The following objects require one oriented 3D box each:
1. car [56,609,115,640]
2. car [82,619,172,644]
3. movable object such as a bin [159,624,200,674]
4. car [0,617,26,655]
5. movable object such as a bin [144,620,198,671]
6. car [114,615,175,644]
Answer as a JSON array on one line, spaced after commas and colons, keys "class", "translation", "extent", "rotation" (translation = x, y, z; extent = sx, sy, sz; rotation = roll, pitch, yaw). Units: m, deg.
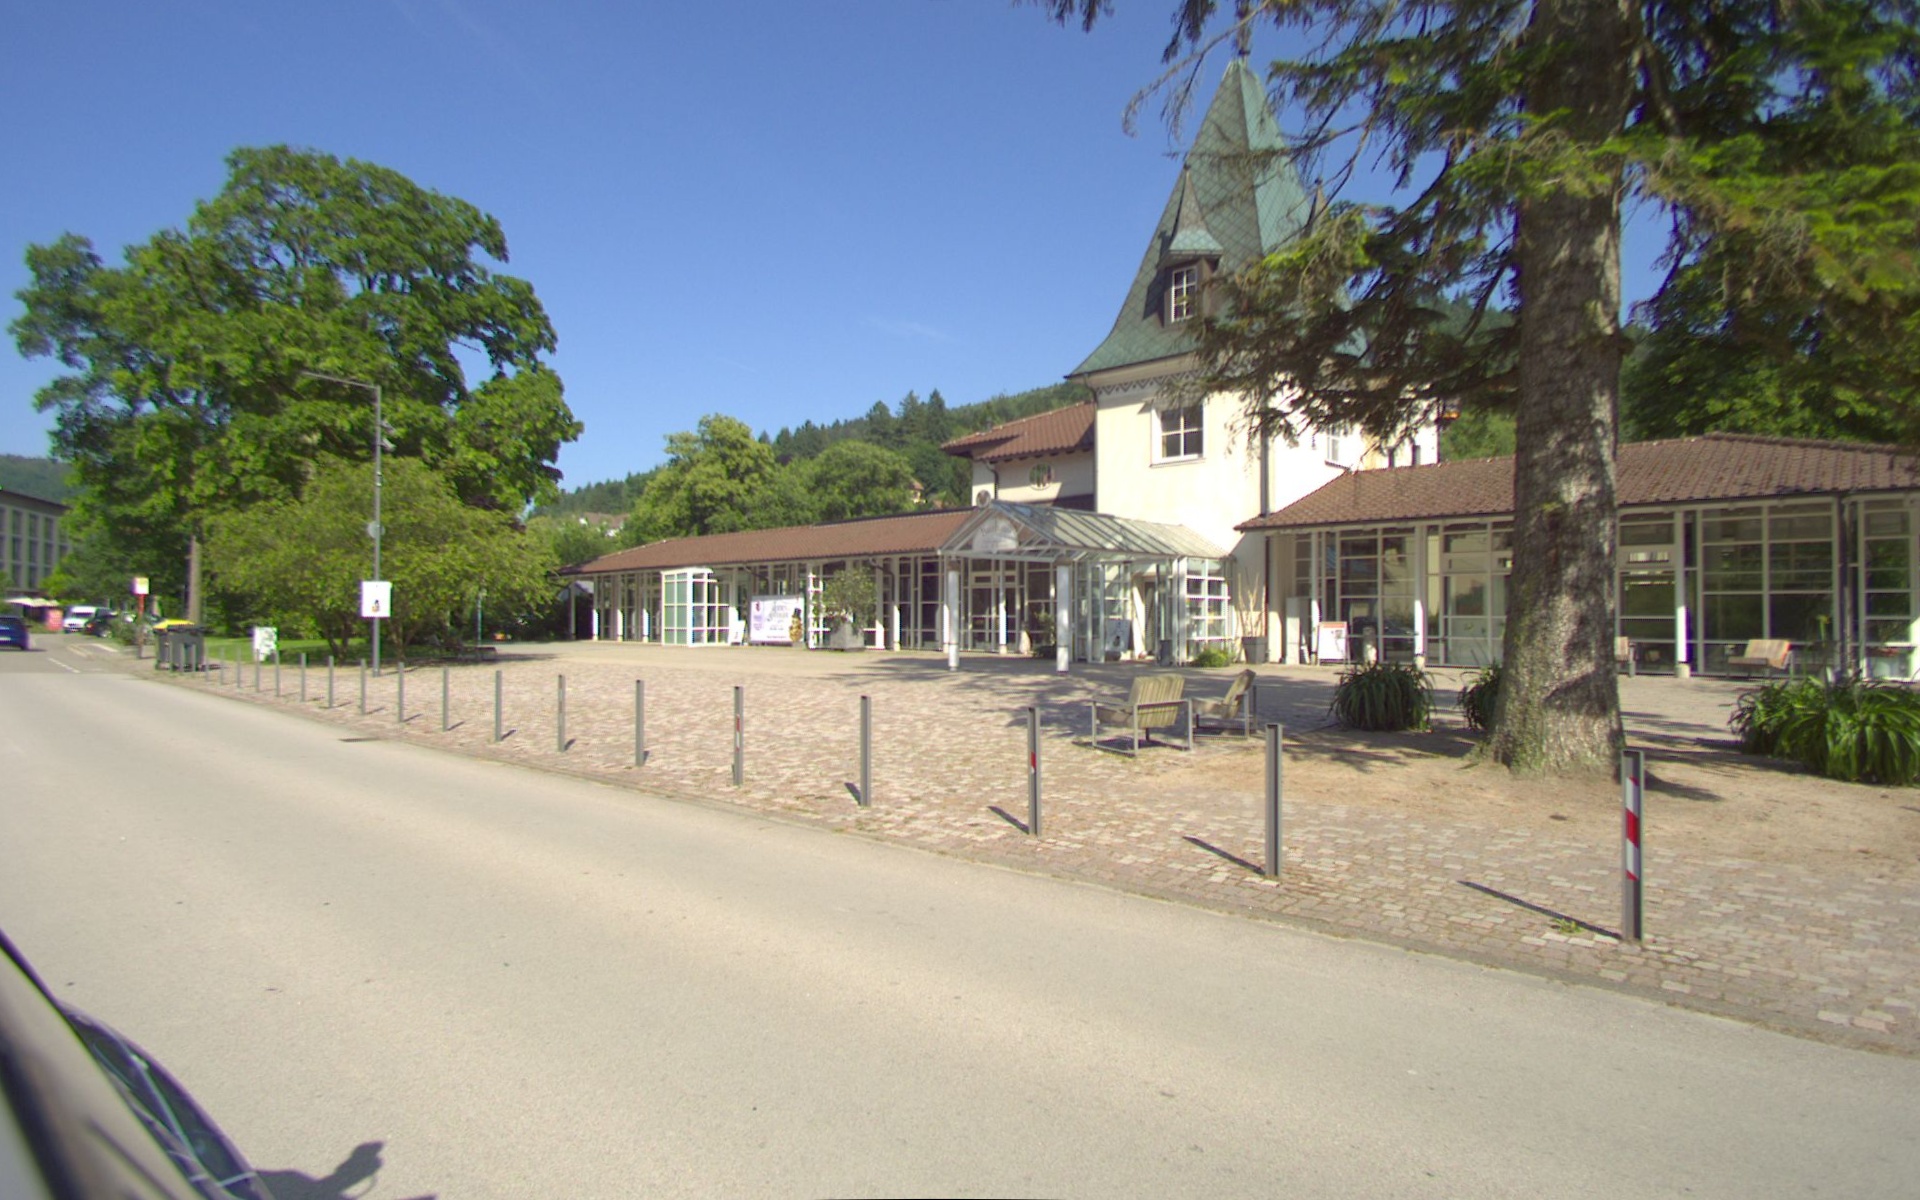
[{"class": "car", "translation": [-81.301, 2.248, 94.166], "extent": [1.760, 2.812, 5.930], "rotation": [-1, 0, -16]}, {"class": "car", "translation": [-53.377, 1.982, 64.866], "extent": [1.712, 1.442, 4.231], "rotation": [-1, 0, 41]}, {"class": "movable object such as a bin", "translation": [-22.224, 1.376, 28.817], "extent": [1.295, 1.352, 0.746], "rotation": [-1, 0, 44]}, {"class": "car", "translation": [-40.889, 1.473, 42.759], "extent": [4.187, 1.474, 1.722], "rotation": [0, -3, 43]}, {"class": "movable object such as a bin", "translation": [-23.575, 1.344, 30.242], "extent": [1.377, 1.438, 1.066], "rotation": [-1, 0, 44]}, {"class": "car", "translation": [-46.556, 1.667, 57.839], "extent": [2.616, 1.558, 1.686], "rotation": [-1, 0, -37]}]
